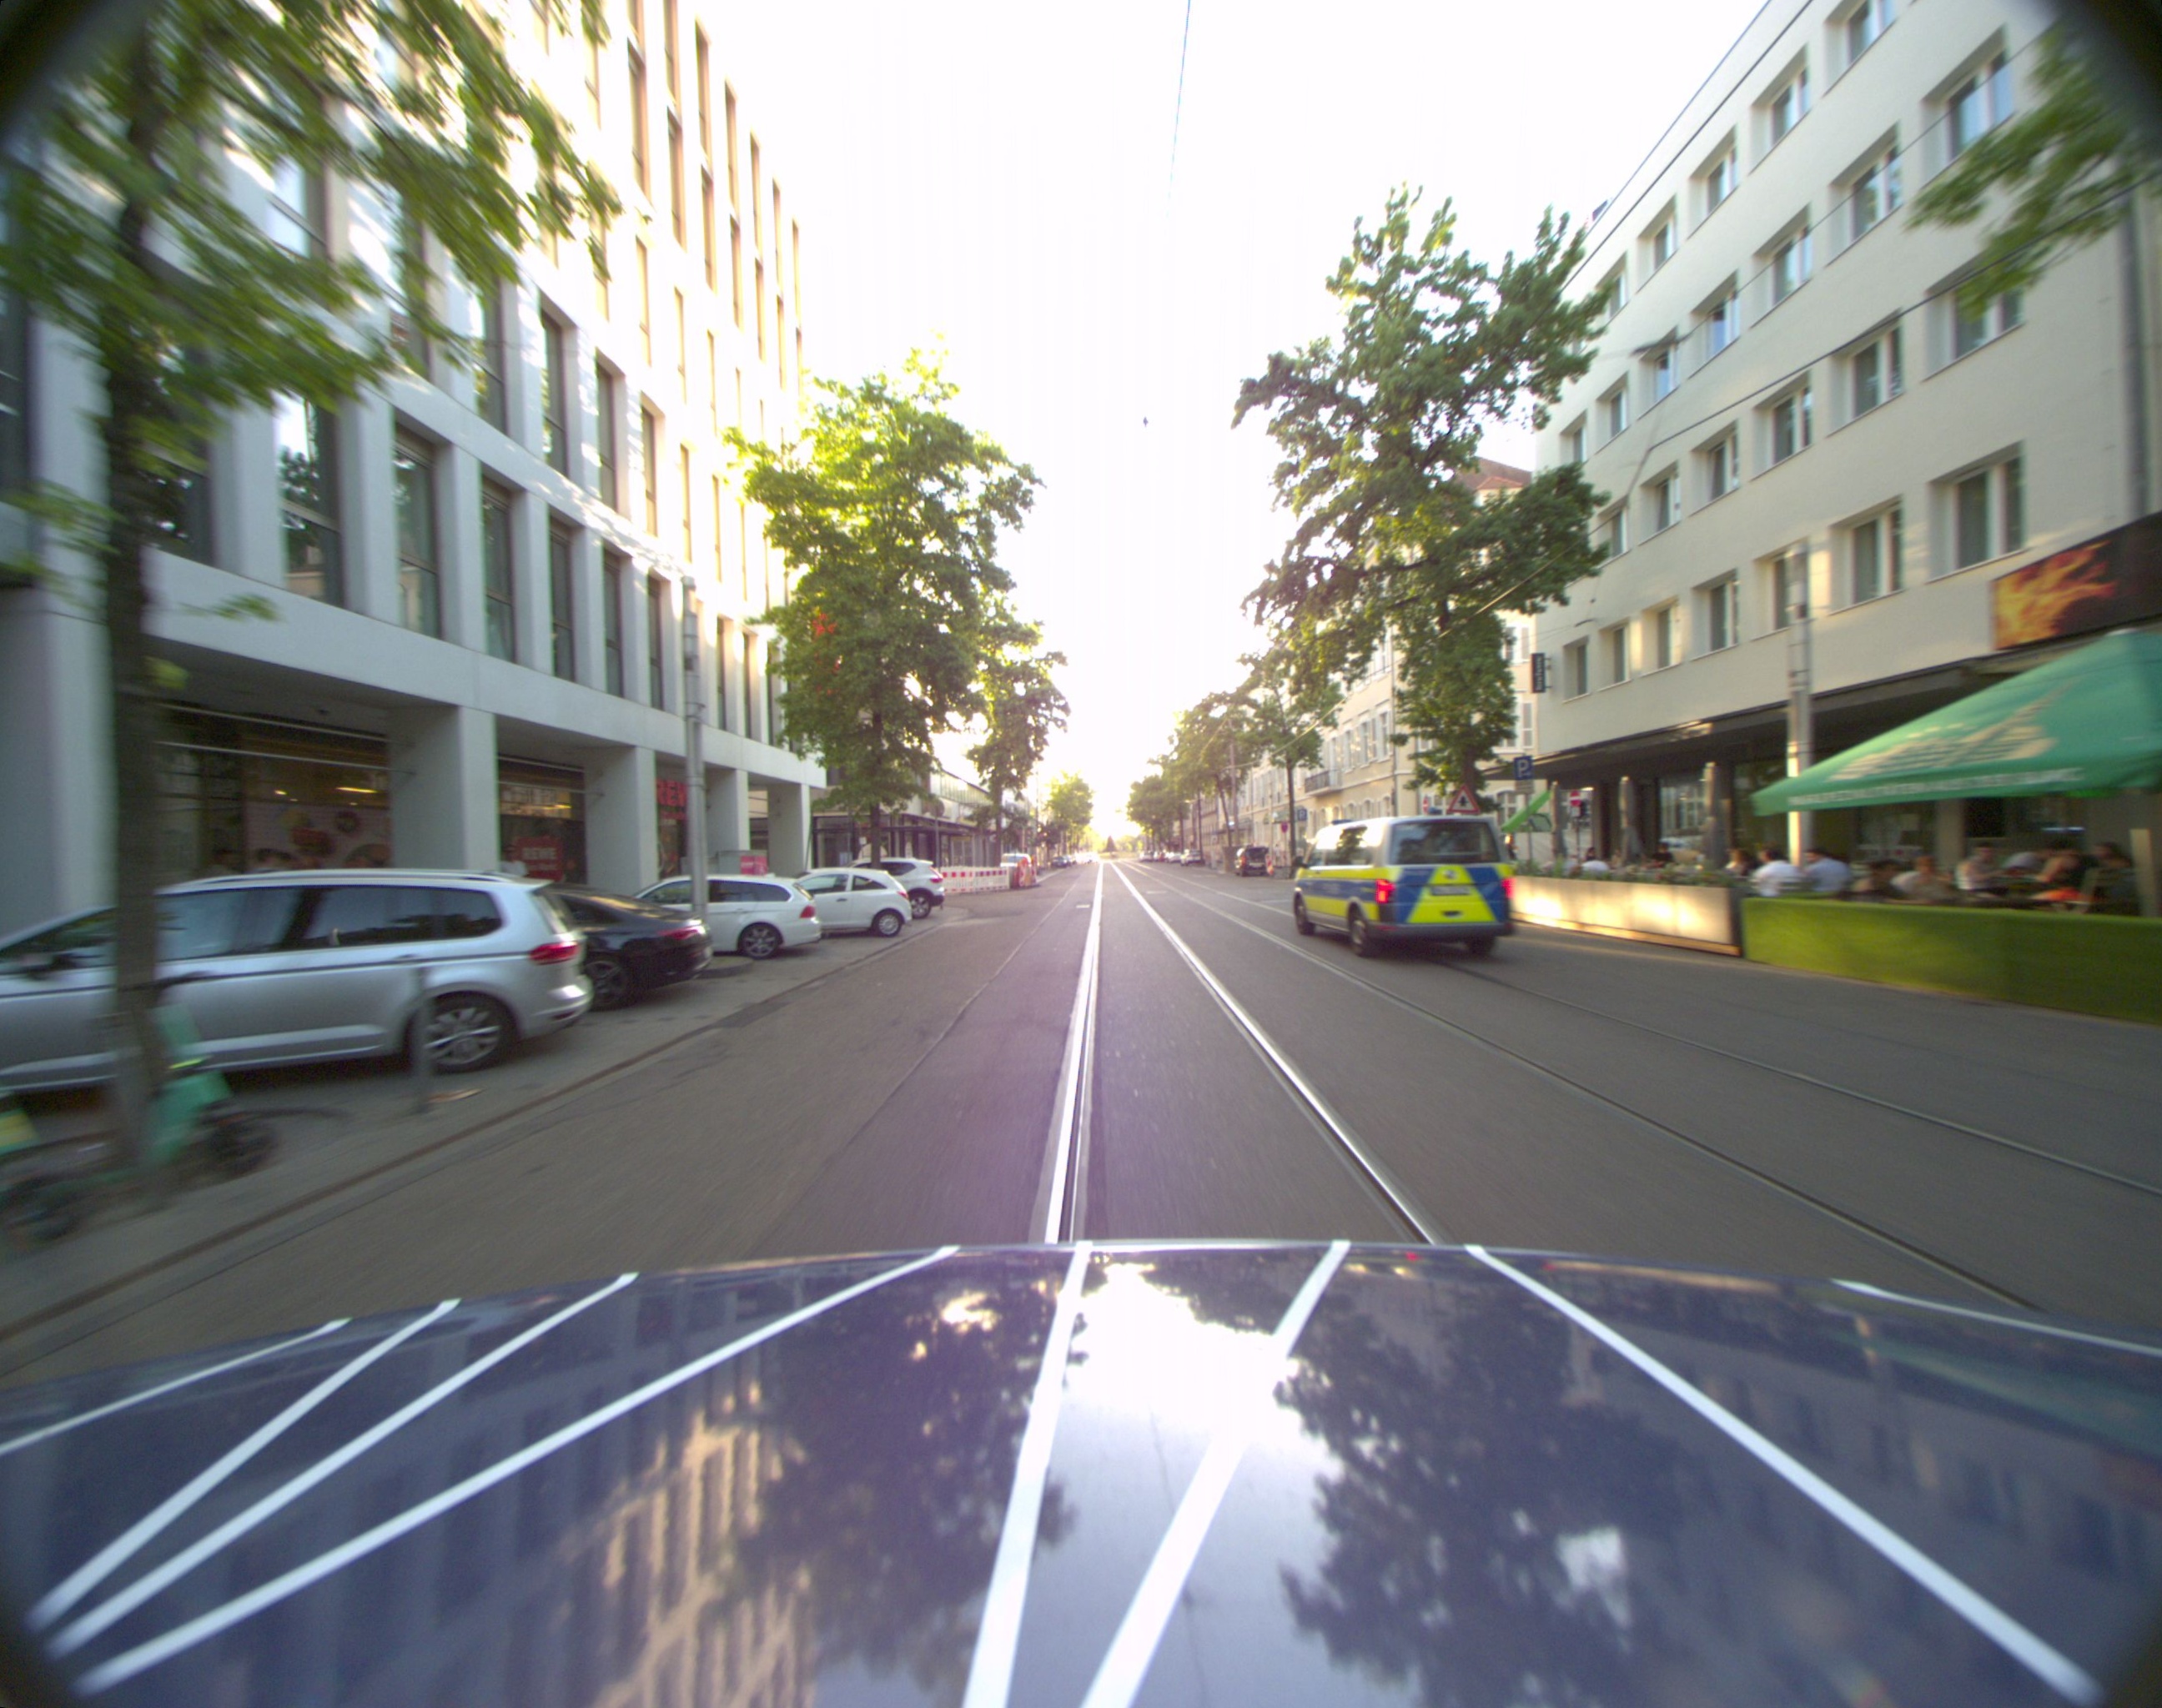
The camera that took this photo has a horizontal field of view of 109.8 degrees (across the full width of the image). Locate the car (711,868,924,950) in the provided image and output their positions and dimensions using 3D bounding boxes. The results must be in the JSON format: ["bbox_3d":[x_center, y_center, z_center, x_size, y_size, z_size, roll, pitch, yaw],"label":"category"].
[{"bbox_3d":[-5.614,1.088,16.221,4.074,1.493,1.791,0,1,-28],"label":"car"}]

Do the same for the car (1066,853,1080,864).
[{"bbox_3d":[-1.019,0.571,98.335,1.738,1.311,4.105,0,0,1],"label":"car"}]

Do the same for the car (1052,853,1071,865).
[{"bbox_3d":[-2.202,0.567,88.451,2.002,1.354,4.105,0,0,2],"label":"car"}]

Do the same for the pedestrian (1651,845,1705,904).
[{"bbox_3d":[14.086,0.471,17.938,0.623,1.312,0.842,-2,2,5],"label":"pedestrian"}]

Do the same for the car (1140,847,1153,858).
[{"bbox_3d":[10.242,-0.237,119.048,1.998,1.727,4.106,-2,0,4],"label":"car"}]

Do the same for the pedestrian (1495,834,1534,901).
[{"bbox_3d":[11.522,0.349,20.203,0.783,1.731,0.640,-4,2,-40],"label":"pedestrian"}]

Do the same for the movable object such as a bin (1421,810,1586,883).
[{"bbox_3d":[17.816,-0.346,32.262,5.561,2.856,2.643,-1,1,0],"label":"movable object such as a bin"}]

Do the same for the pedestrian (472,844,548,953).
[{"bbox_3d":[-10.326,0.792,13.762,0.805,1.885,0.682,-2,0,3],"label":"pedestrian"}]

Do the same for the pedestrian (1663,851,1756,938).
[{"bbox_3d":[10.351,0.645,12.554,0.717,1.354,1.012,-2,1,4],"label":"pedestrian"}]

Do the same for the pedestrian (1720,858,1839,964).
[{"bbox_3d":[9.640,0.759,10.529,0.717,1.354,1.012,-2,1,4],"label":"pedestrian"}]

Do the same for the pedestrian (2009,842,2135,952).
[{"bbox_3d":[13.067,0.546,10.043,0.656,1.370,0.765,-2,2,2],"label":"pedestrian"}]

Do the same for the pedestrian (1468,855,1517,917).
[{"bbox_3d":[9.515,0.719,17.583,0.694,1.369,0.793,-2,1,4],"label":"pedestrian"}]

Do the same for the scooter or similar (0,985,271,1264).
[{"bbox_3d":[-5.186,1.360,3.874,1.404,1.143,0.578,-1,0,-45],"label":"scooter or similar"}]

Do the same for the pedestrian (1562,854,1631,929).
[{"bbox_3d":[9.842,0.705,14.534,0.717,1.354,0.872,-2,1,4],"label":"pedestrian"}]

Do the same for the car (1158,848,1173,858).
[{"bbox_3d":[13.050,-0.182,117.280,1.998,1.567,4.106,-2,0,4],"label":"car"}]

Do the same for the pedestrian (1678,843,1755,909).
[{"bbox_3d":[13.467,0.450,16.122,0.887,1.312,0.882,-2,2,5],"label":"pedestrian"}]

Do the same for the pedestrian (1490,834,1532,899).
[{"bbox_3d":[11.794,0.325,20.837,0.782,1.731,0.640,-3,2,-29],"label":"pedestrian"}]

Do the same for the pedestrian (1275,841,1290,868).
[{"bbox_3d":[14.267,0.050,53.931,0.759,1.874,0.880,-4,1,3],"label":"pedestrian"}]

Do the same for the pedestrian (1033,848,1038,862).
[{"bbox_3d":[-5.026,0.127,83.512,0.477,1.547,0.748,-1,2,2],"label":"pedestrian"}]

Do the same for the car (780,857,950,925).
[{"bbox_3d":[-5.938,0.957,20.843,4.278,1.662,1.948,0,2,-23],"label":"car"}]

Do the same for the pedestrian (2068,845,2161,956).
[{"bbox_3d":[13.759,0.584,9.960,0.656,1.370,0.765,-2,2,2],"label":"pedestrian"}]

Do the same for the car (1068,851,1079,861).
[{"bbox_3d":[-1.206,0.318,120.887,1.686,1.472,3.846,-2,0,1],"label":"car"}]

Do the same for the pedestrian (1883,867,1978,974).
[{"bbox_3d":[10.122,0.774,9.069,0.544,1.211,0.511,-2,1,4],"label":"pedestrian"}]

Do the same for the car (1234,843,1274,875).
[{"bbox_3d":[10.540,0.277,46.556,1.771,1.754,3.879,-4,0,5],"label":"car"}]

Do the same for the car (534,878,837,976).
[{"bbox_3d":[-6.532,1.152,13.083,4.355,1.414,1.825,1,0,-21],"label":"car"}]

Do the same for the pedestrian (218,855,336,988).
[{"bbox_3d":[-10.799,0.881,10.232,0.681,1.689,0.806,-2,-1,1],"label":"pedestrian"}]

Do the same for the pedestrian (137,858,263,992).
[{"bbox_3d":[-11.721,0.921,10.135,0.681,1.689,0.806,-2,-1,1],"label":"pedestrian"}]

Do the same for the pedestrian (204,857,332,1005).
[{"bbox_3d":[-10.150,0.931,9.517,0.681,1.760,0.806,-2,-1,1],"label":"pedestrian"}]

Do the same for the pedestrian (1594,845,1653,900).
[{"bbox_3d":[13.467,0.449,18.877,0.849,1.312,0.882,-2,2,6],"label":"pedestrian"}]

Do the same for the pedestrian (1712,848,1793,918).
[{"bbox_3d":[13.396,0.557,15.179,0.849,1.312,0.882,-2,2,6],"label":"pedestrian"}]

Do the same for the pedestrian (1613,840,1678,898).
[{"bbox_3d":[13.326,0.337,17.959,0.887,1.312,0.882,-2,2,5],"label":"pedestrian"}]

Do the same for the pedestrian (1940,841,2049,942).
[{"bbox_3d":[13.101,0.514,10.919,0.656,1.370,0.765,-2,2,2],"label":"pedestrian"}]

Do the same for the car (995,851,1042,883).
[{"bbox_3d":[-3.544,0.705,43.670,1.998,1.761,4.671,1,0,4],"label":"car"}]

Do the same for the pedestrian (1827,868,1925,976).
[{"bbox_3d":[9.508,0.800,9.109,0.587,1.228,0.544,-2,1,4],"label":"pedestrian"}]

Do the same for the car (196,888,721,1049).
[{"bbox_3d":[-6.725,1.167,8.911,4.354,1.414,1.951,1,1,-20],"label":"car"}]

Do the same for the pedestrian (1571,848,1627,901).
[{"bbox_3d":[13.578,0.534,19.942,0.887,1.312,0.882,-2,2,5],"label":"pedestrian"}]

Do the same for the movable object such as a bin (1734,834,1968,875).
[{"bbox_3d":[33.479,-0.010,33.272,7.288,1.655,2.899,-1,1,0],"label":"movable object such as a bin"}]

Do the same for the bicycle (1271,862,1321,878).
[{"bbox_3d":[10.872,0.808,38.494,2.076,0.702,1.330,-3,0,-4],"label":"bicycle"}]

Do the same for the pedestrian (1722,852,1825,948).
[{"bbox_3d":[10.391,0.665,11.435,0.717,1.354,0.924,-2,1,4],"label":"pedestrian"}]

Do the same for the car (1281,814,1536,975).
[{"bbox_3d":[4.773,0.498,12.009,1.998,1.965,4.850,-2,0,1],"label":"car"}]

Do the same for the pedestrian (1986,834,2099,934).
[{"bbox_3d":[13.784,0.408,10.912,0.656,1.370,0.765,-2,2,2],"label":"pedestrian"}]

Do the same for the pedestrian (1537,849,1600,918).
[{"bbox_3d":[10.107,0.592,15.792,0.717,1.354,0.924,-2,1,4],"label":"pedestrian"}]

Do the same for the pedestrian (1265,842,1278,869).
[{"bbox_3d":[13.520,0.104,53.913,0.679,1.874,0.769,-4,1,3],"label":"pedestrian"}]

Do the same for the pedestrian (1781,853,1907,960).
[{"bbox_3d":[10.414,0.684,10.410,0.717,1.354,1.012,-2,1,4],"label":"pedestrian"}]

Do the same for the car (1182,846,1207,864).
[{"bbox_3d":[11.753,0.054,78.691,1.998,1.727,4.105,-2,0,2],"label":"car"}]

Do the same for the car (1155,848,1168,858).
[{"bbox_3d":[13.058,-0.213,123.281,1.998,1.540,4.106,-2,0,4],"label":"car"}]

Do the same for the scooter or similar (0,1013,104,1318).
[{"bbox_3d":[-5.090,1.354,3.041,1.335,1.175,0.497,-1,1,-36],"label":"scooter or similar"}]

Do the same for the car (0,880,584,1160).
[{"bbox_3d":[-6.685,1.089,5.927,4.684,1.630,1.950,0,1,-34],"label":"car"}]

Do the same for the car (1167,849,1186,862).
[{"bbox_3d":[12.197,0.170,97.190,1.998,1.494,4.105,-2,0,2],"label":"car"}]
